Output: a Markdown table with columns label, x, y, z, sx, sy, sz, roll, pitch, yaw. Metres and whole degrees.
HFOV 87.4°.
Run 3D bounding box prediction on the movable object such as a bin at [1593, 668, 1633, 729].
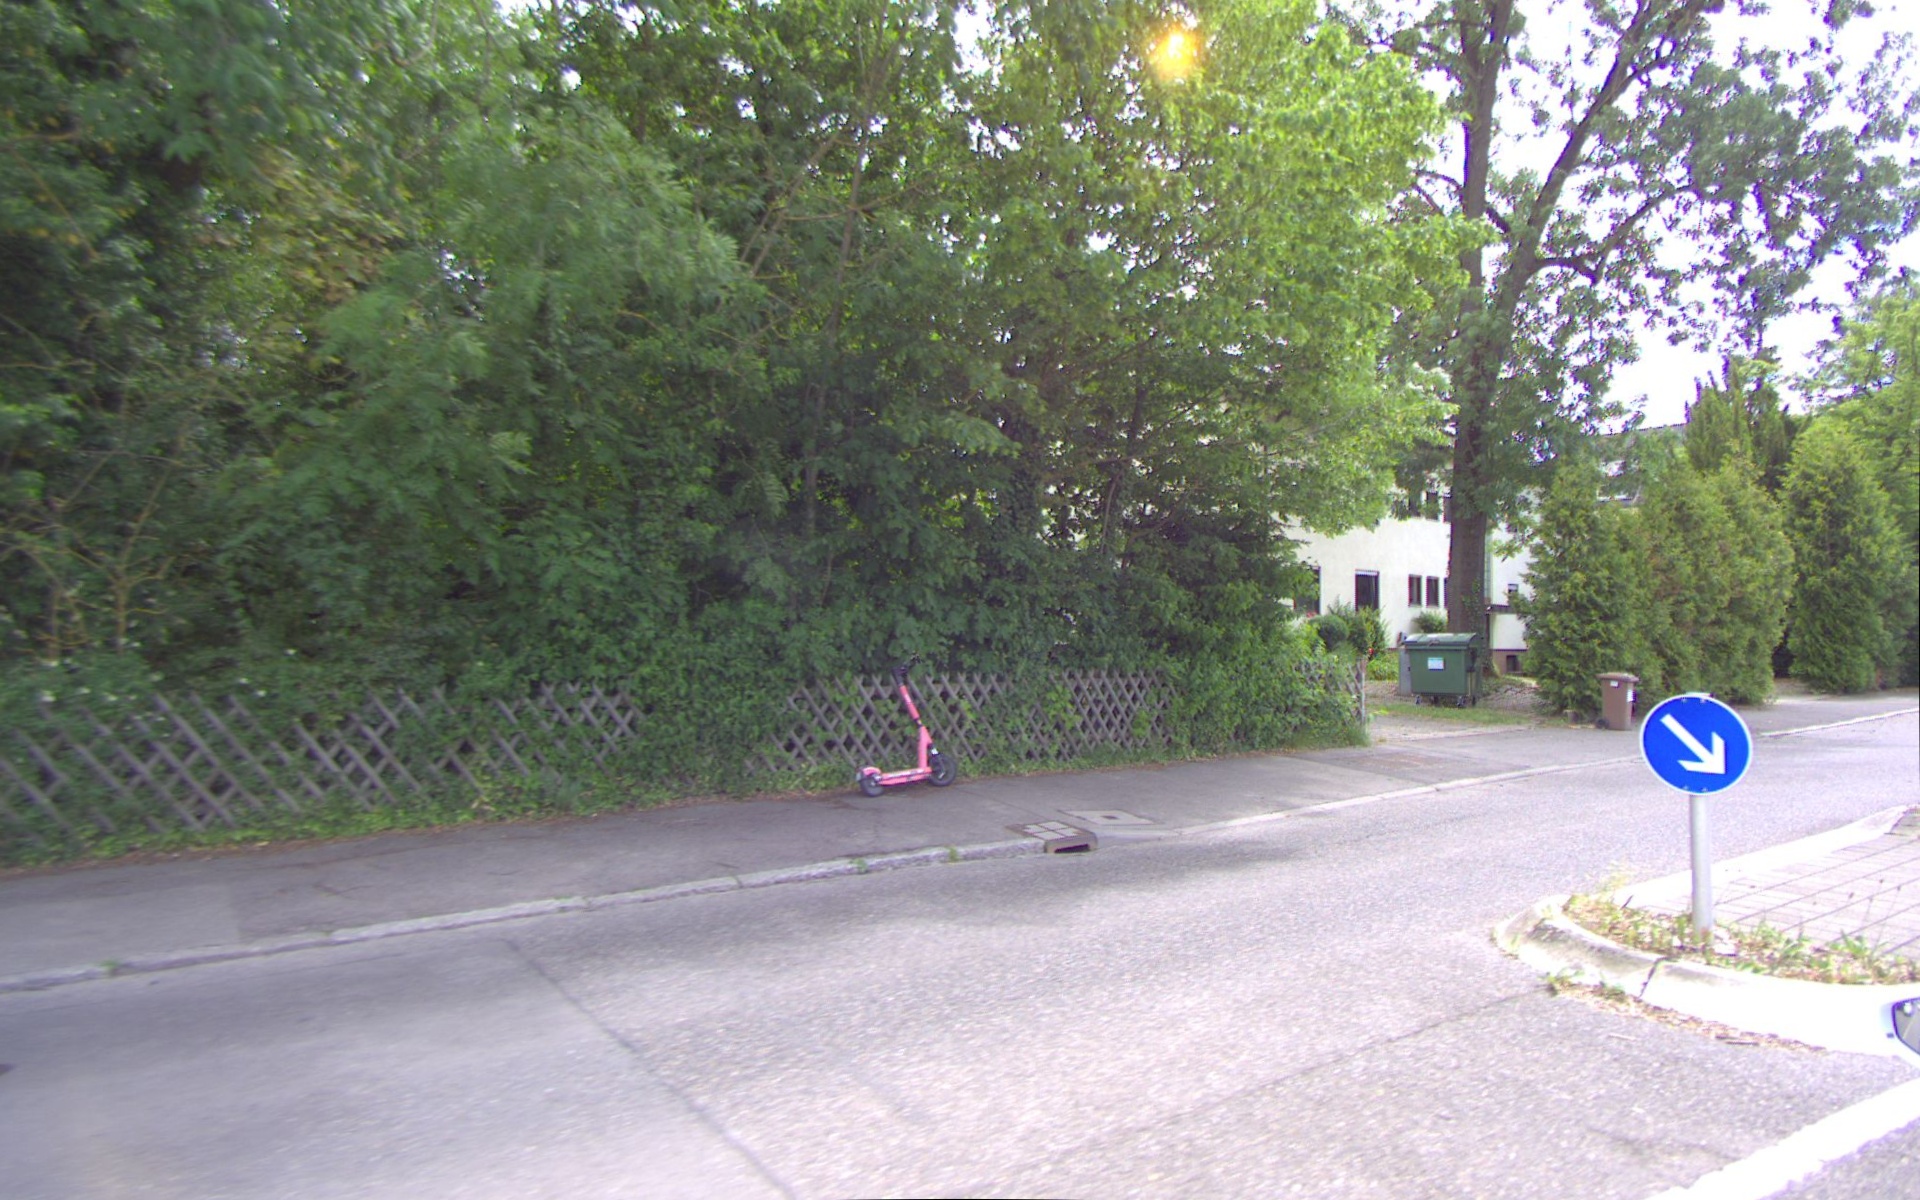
| label | x | y | z | sx | sy | sz | roll | pitch | yaw |
| --- | --- | --- | --- | --- | --- | --- | --- | --- | --- |
| movable object such as a bin | 10.927 | 1.642 | 16.814 | 0.457 | 0.942 | 0.428 | 4 | 1 | 42 |

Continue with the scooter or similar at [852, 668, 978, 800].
| label | x | y | z | sx | sy | sz | roll | pitch | yaw |
| --- | --- | --- | --- | --- | --- | --- | --- | --- | --- |
| scooter or similar | -0.402 | 1.210 | 9.371 | 0.471 | 1.095 | 1.208 | 0 | -1 | 40 |

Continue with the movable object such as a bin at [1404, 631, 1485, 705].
| label | x | y | z | sx | sy | sz | roll | pitch | yaw |
| --- | --- | --- | --- | --- | --- | --- | --- | --- | --- |
| movable object such as a bin | 9.707 | 1.335 | 20.137 | 1.258 | 1.419 | 0.894 | -1 | -2 | 42 |
